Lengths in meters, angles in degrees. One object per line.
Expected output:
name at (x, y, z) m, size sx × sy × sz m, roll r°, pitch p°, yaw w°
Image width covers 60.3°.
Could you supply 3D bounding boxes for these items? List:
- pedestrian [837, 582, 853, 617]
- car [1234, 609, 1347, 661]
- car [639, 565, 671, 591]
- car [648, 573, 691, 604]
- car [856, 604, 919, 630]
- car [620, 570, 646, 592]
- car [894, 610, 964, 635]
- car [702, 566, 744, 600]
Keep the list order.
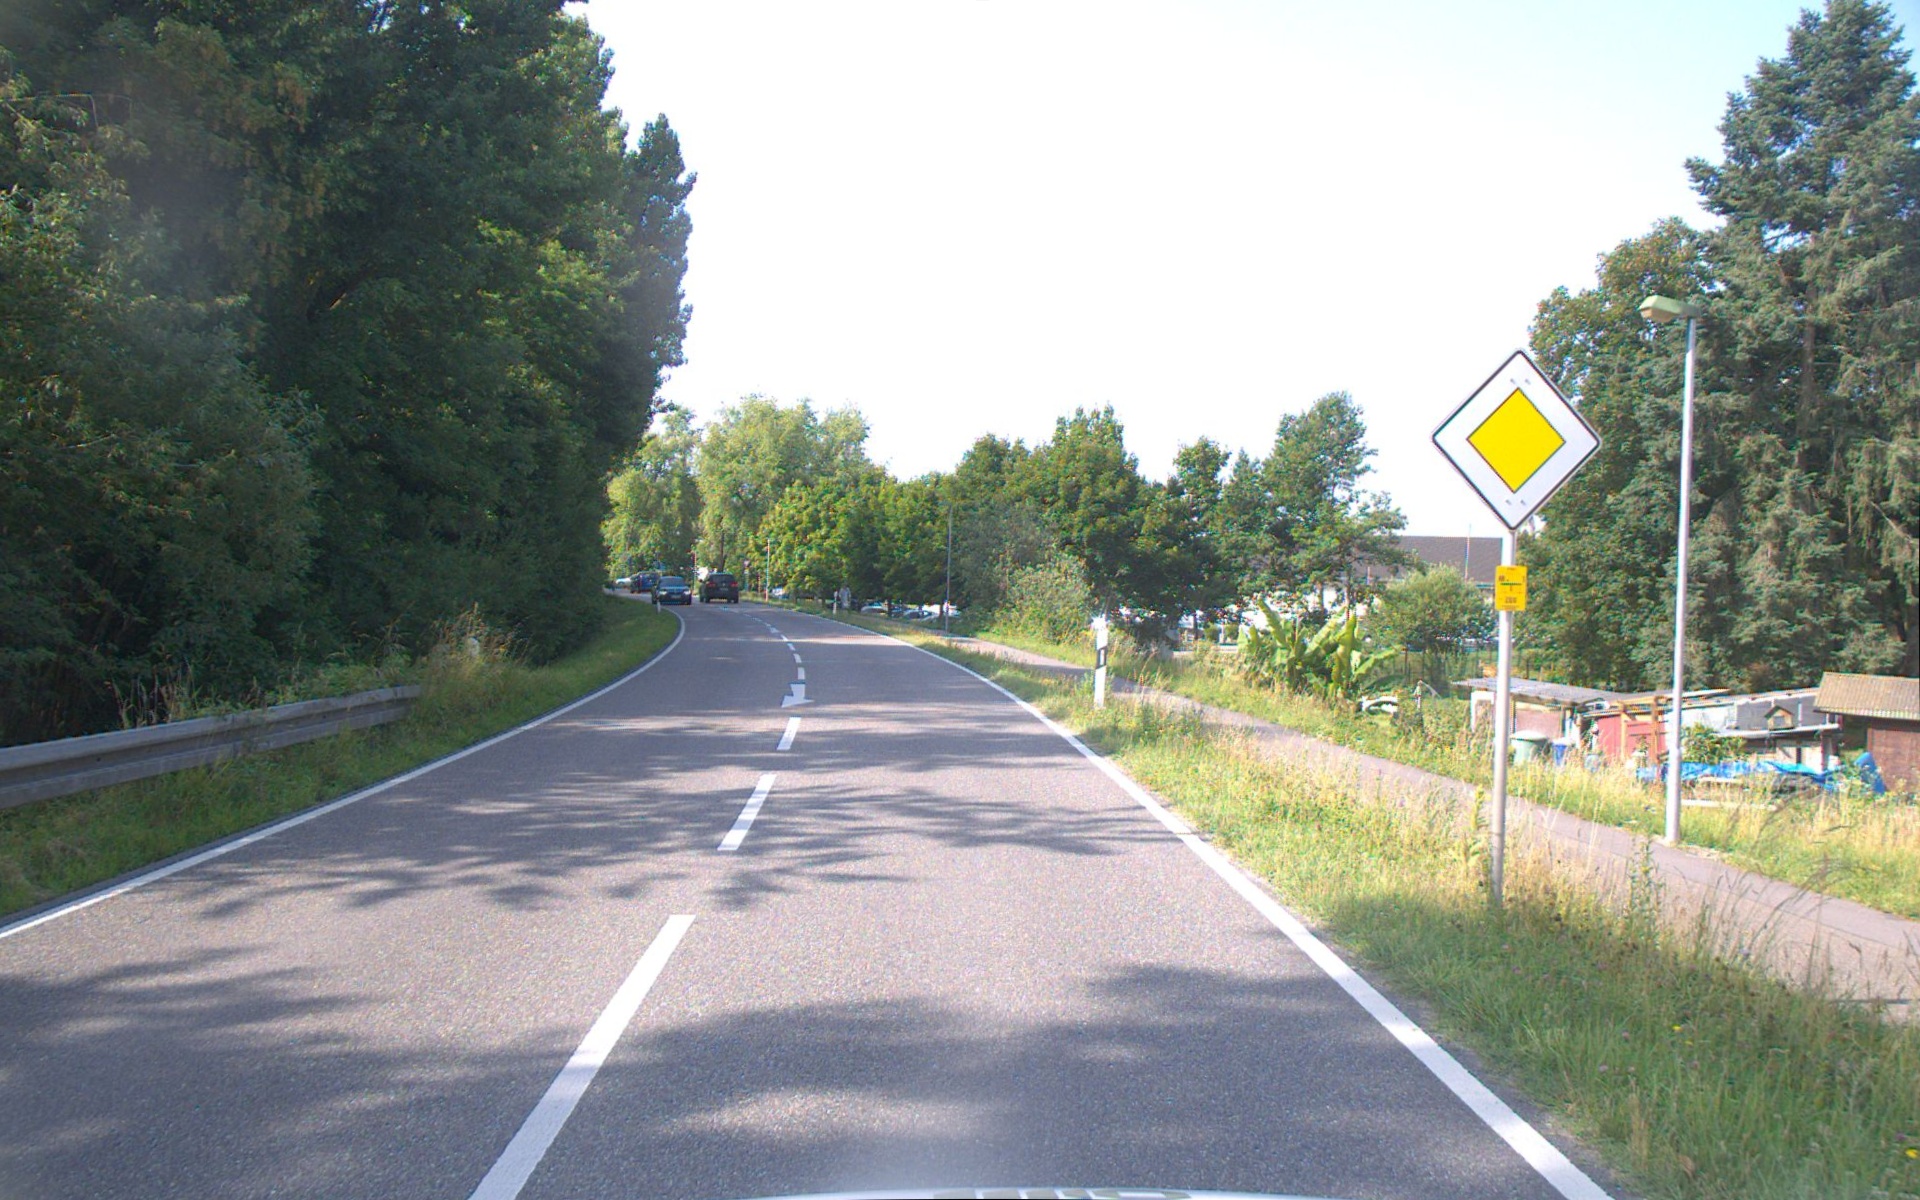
pedestrian at (-5.956, -0.038, 85.509) m, size 0.739 × 1.806 × 0.972 m, roll 1°, pitch 0°, yaw -2°
car at (18.315, 1.909, 91.726) m, size 5.668 × 2.714 × 2.399 m, roll 1°, pitch 0°, yaw 35°
car at (-22.750, -1.644, 123.201) m, size 1.971 × 1.801 × 3.984 m, roll 2°, pitch 1°, yaw -15°
car at (-15.702, -0.648, 89.225) m, size 1.723 × 1.499 × 3.981 m, roll 2°, pitch 1°, yaw -18°
car at (-5.066, 1.207, 115.360) m, size 4.160 × 1.709 × 1.885 m, roll 1°, pitch 0°, yaw -12°
car at (-29.202, -1.694, 147.915) m, size 1.966 × 1.801 × 3.993 m, roll 2°, pitch 1°, yaw -8°
car at (-1.989, 1.412, 104.520) m, size 4.183 × 1.497 × 1.840 m, roll 1°, pitch 0°, yaw -9°
car at (-13.608, -1.001, 94.802) m, size 1.893 × 1.801 × 3.986 m, roll 2°, pitch 1°, yaw -14°
